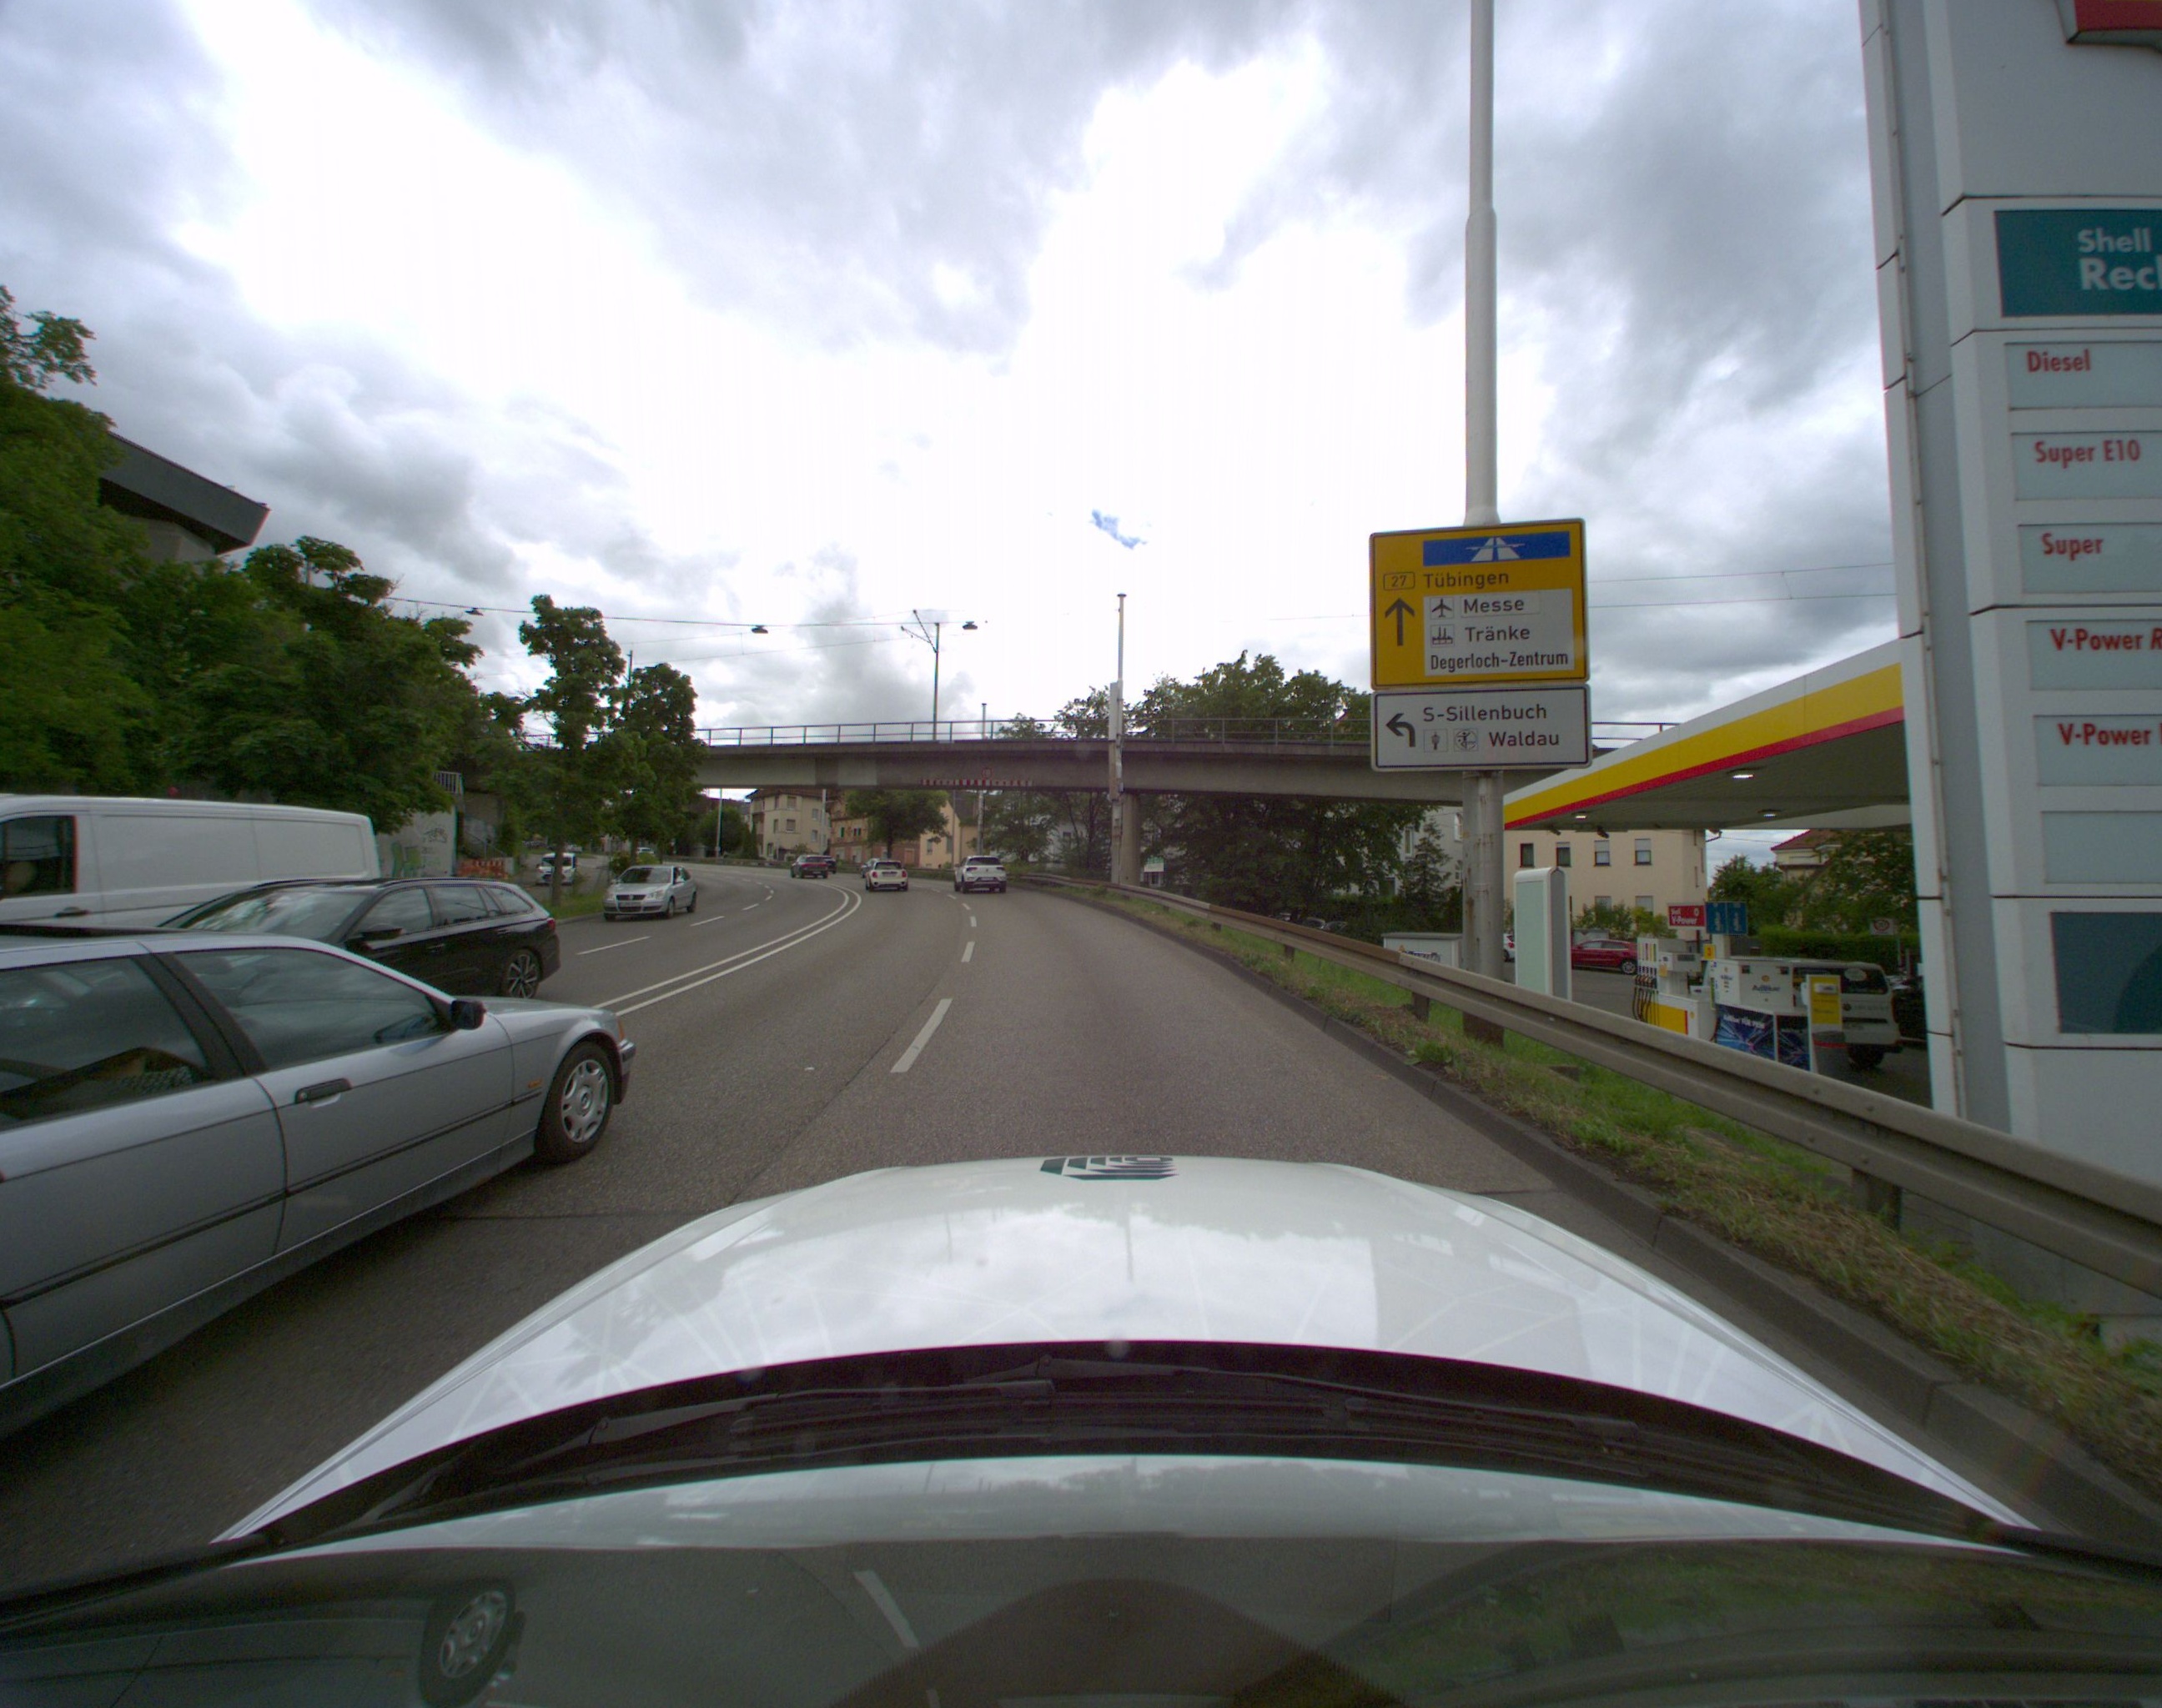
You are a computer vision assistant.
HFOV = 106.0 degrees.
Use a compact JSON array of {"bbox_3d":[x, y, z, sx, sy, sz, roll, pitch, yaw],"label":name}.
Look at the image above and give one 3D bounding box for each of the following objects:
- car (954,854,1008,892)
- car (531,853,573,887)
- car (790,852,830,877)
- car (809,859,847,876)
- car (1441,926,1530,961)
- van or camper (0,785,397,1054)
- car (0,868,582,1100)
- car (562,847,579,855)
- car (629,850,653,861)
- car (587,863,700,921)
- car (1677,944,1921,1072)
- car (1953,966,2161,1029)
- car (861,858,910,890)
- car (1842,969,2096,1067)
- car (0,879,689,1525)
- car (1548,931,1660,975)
[{"bbox_3d":[-4.251,0.751,34.286,1.800,1.519,3.439,0,0,-15],"label":"car"},{"bbox_3d":[-30.050,0.885,46.360,1.778,1.785,4.422,-2,1,-30],"label":"car"},{"bbox_3d":[-18.955,0.710,56.928,1.735,1.640,3.419,1,0,-35],"label":"car"},{"bbox_3d":[-20.974,1.109,67.471,1.737,1.376,3.415,1,0,-41],"label":"car"},{"bbox_3d":[20.691,4.536,41.679,3.722,1.395,1.660,2,-2,42],"label":"car"},{"bbox_3d":[-10.208,0.562,8.207,2.006,2.261,5.950,-1,0,-5],"label":"van or camper"},{"bbox_3d":[-6.802,0.898,7.612,1.732,1.414,4.423,-1,0,-4],"label":"car"},{"bbox_3d":[-87.443,-0.462,139.584,1.738,1.376,3.414,1,0,-45],"label":"car"},{"bbox_3d":[-54.424,0.168,100.811,1.738,1.376,3.414,1,0,-45],"label":"car"},{"bbox_3d":[-12.064,0.991,22.719,1.703,1.408,3.794,-1,0,-11],"label":"car"},{"bbox_3d":[14.559,3.012,16.942,1.723,2.011,4.728,-1,-4,13],"label":"car"},{"bbox_3d":[27.815,4.047,23.253,3.581,1.458,1.668,-2,-4,29],"label":"car"},{"bbox_3d":[-9.061,0.905,37.551,1.729,1.376,3.431,0,0,-22],"label":"car"},{"bbox_3d":[18.603,3.368,17.363,1.723,1.486,3.890,-1,-4,13],"label":"car"},{"bbox_3d":[-3.321,0.855,2.913,1.629,1.383,4.618,0,0,-1],"label":"car"},{"bbox_3d":[24.680,4.629,38.489,4.249,1.521,1.634,2,-2,39],"label":"car"}]
